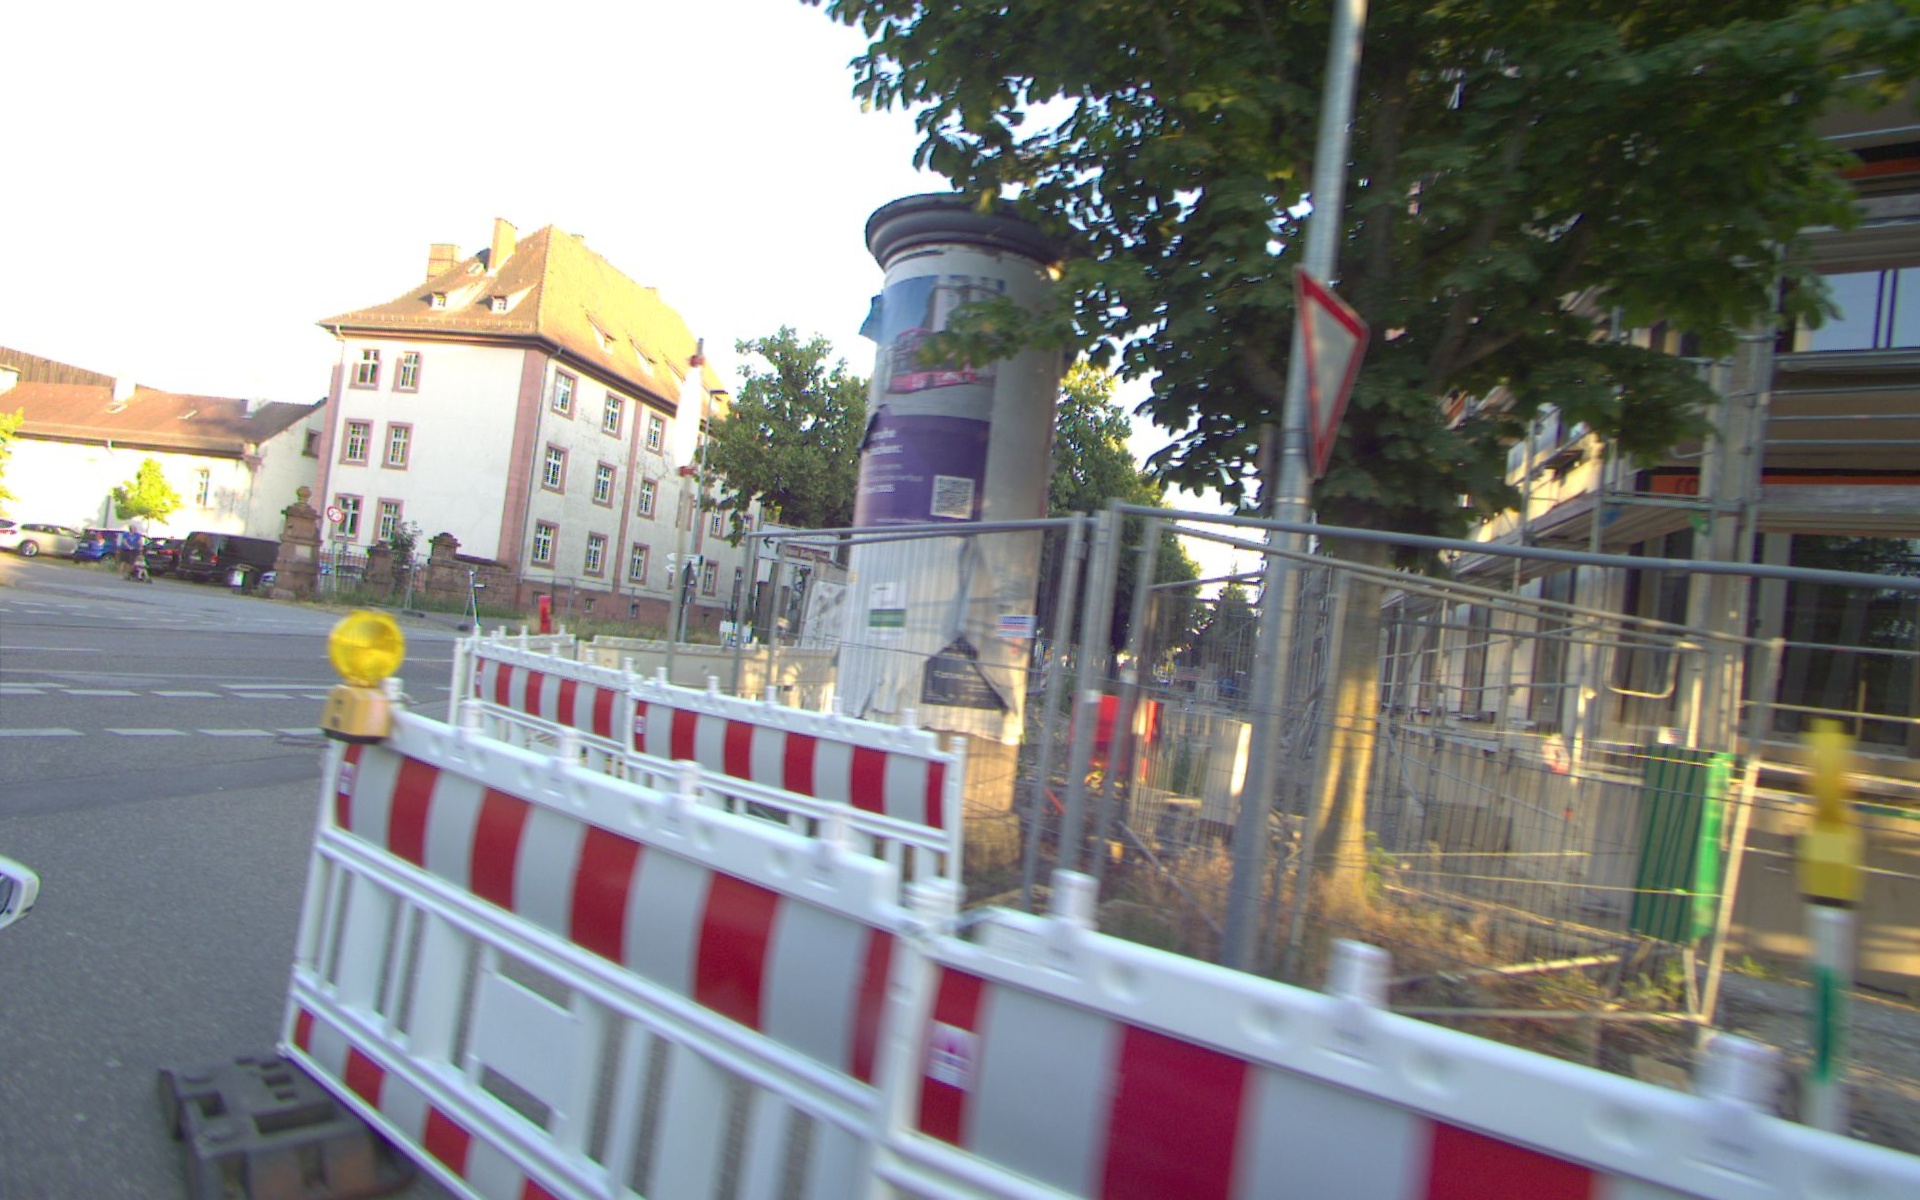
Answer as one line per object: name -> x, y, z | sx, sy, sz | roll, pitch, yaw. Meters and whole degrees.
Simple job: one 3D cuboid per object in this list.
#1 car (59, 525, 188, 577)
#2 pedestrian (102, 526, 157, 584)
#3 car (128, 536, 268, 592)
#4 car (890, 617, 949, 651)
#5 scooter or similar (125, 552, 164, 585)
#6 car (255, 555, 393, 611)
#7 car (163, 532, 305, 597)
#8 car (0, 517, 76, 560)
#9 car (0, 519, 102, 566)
car -> -34.598, -1.991, 41.753 | 1.654, 1.546, 3.759 | 7, -3, 13
pedestrian -> -26.471, -1.429, 32.081 | 0.995, 1.661, 0.753 | 6, -2, 17
car -> -30.328, -1.375, 40.208 | 1.962, 1.590, 4.007 | 7, -3, 13
car -> -3.035, 2.629, 76.575 | 3.923, 2.037, 2.003 | 7, -2, 11
scooter or similar -> -25.693, -0.989, 31.707 | 0.791, 0.900, 0.516 | 6, -2, 16
car -> -23.562, -0.587, 37.449 | 1.962, 1.475, 4.007 | 7, -3, 13
car -> -28.013, -1.316, 38.980 | 1.962, 1.879, 4.007 | 7, -3, 13
car -> -41.282, -2.789, 43.831 | 1.654, 1.461, 3.759 | 7, -3, 13
car -> -39.096, -2.462, 42.644 | 1.654, 1.461, 3.759 | 7, -3, 13
